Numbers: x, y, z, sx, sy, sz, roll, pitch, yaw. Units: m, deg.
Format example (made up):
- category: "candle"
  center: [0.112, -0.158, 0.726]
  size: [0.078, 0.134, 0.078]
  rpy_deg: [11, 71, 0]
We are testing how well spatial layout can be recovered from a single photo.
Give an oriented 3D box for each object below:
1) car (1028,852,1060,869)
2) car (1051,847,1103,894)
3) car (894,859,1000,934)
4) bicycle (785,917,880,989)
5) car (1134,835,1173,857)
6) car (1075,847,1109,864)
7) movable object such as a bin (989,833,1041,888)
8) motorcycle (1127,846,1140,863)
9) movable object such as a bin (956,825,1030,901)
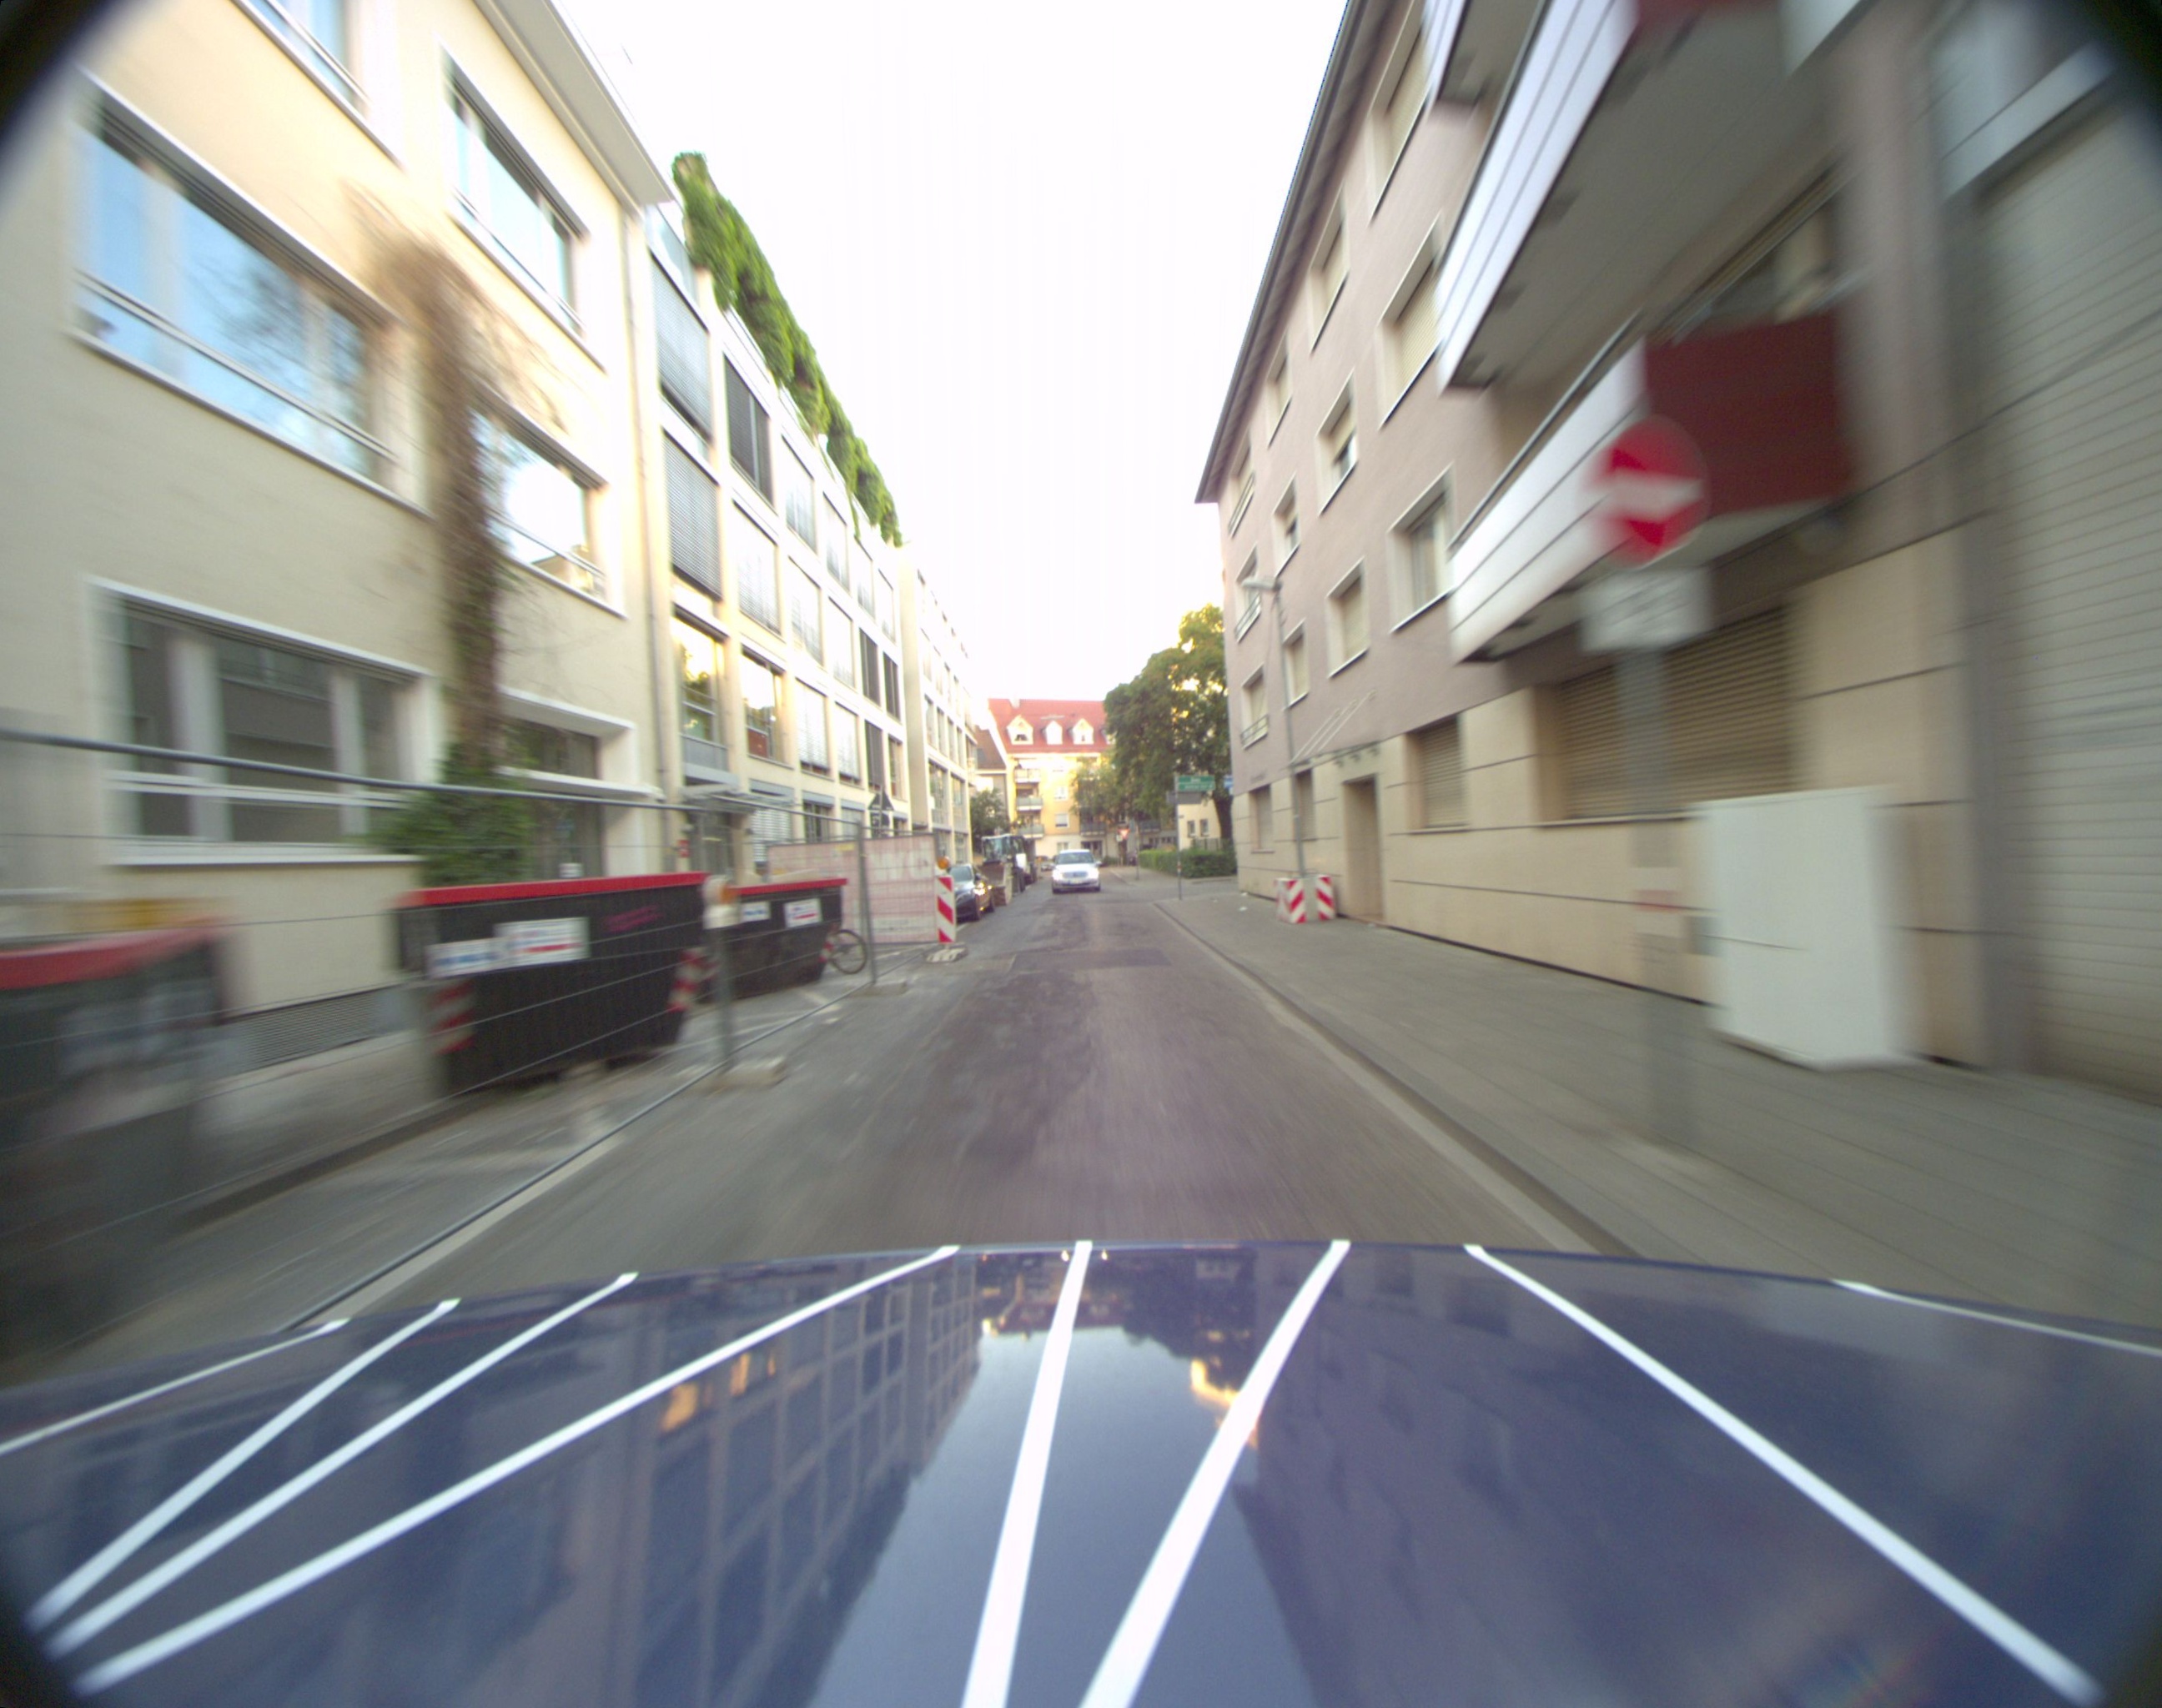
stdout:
- category: "car"
  center: [-3.560, 0.618, 73.259]
  size: [1.749, 1.395, 4.237]
  rpy_deg: [-3, 3, -22]
- category: "car"
  center: [-0.114, 0.597, 29.306]
  size: [1.804, 1.607, 4.273]
  rpy_deg: [-2, 0, 0]
- category: "car"
  center: [-3.260, 0.975, 19.376]
  size: [1.792, 1.463, 4.445]
  rpy_deg: [-5, 1, 0]
- category: "bicycle"
  center: [-3.609, 1.393, 10.951]
  size: [1.803, 0.903, 0.460]
  rpy_deg: [-4, 0, 44]
- category: "car"
  center: [7.393, -0.874, 77.682]
  size: [2.231, 2.065, 4.320]
  rpy_deg: [-3, 3, -22]
- category: "car"
  center: [1.043, 0.094, 75.372]
  size: [1.829, 1.460, 4.320]
  rpy_deg: [-3, 3, -22]
- category: "movable object such as a bin"
  center: [-3.490, 0.278, 41.299]
  size: [2.021, 2.608, 5.750]
  rpy_deg: [-5, 1, 1]
- category: "motorcycle"
  center: [4.421, 0.006, 64.188]
  size: [0.858, 1.345, 1.960]
  rpy_deg: [-3, 1, 9]
- category: "movable object such as a bin"
  center: [-3.417, 0.339, 30.710]
  size: [2.021, 2.608, 5.750]
  rpy_deg: [-5, 0, 1]
